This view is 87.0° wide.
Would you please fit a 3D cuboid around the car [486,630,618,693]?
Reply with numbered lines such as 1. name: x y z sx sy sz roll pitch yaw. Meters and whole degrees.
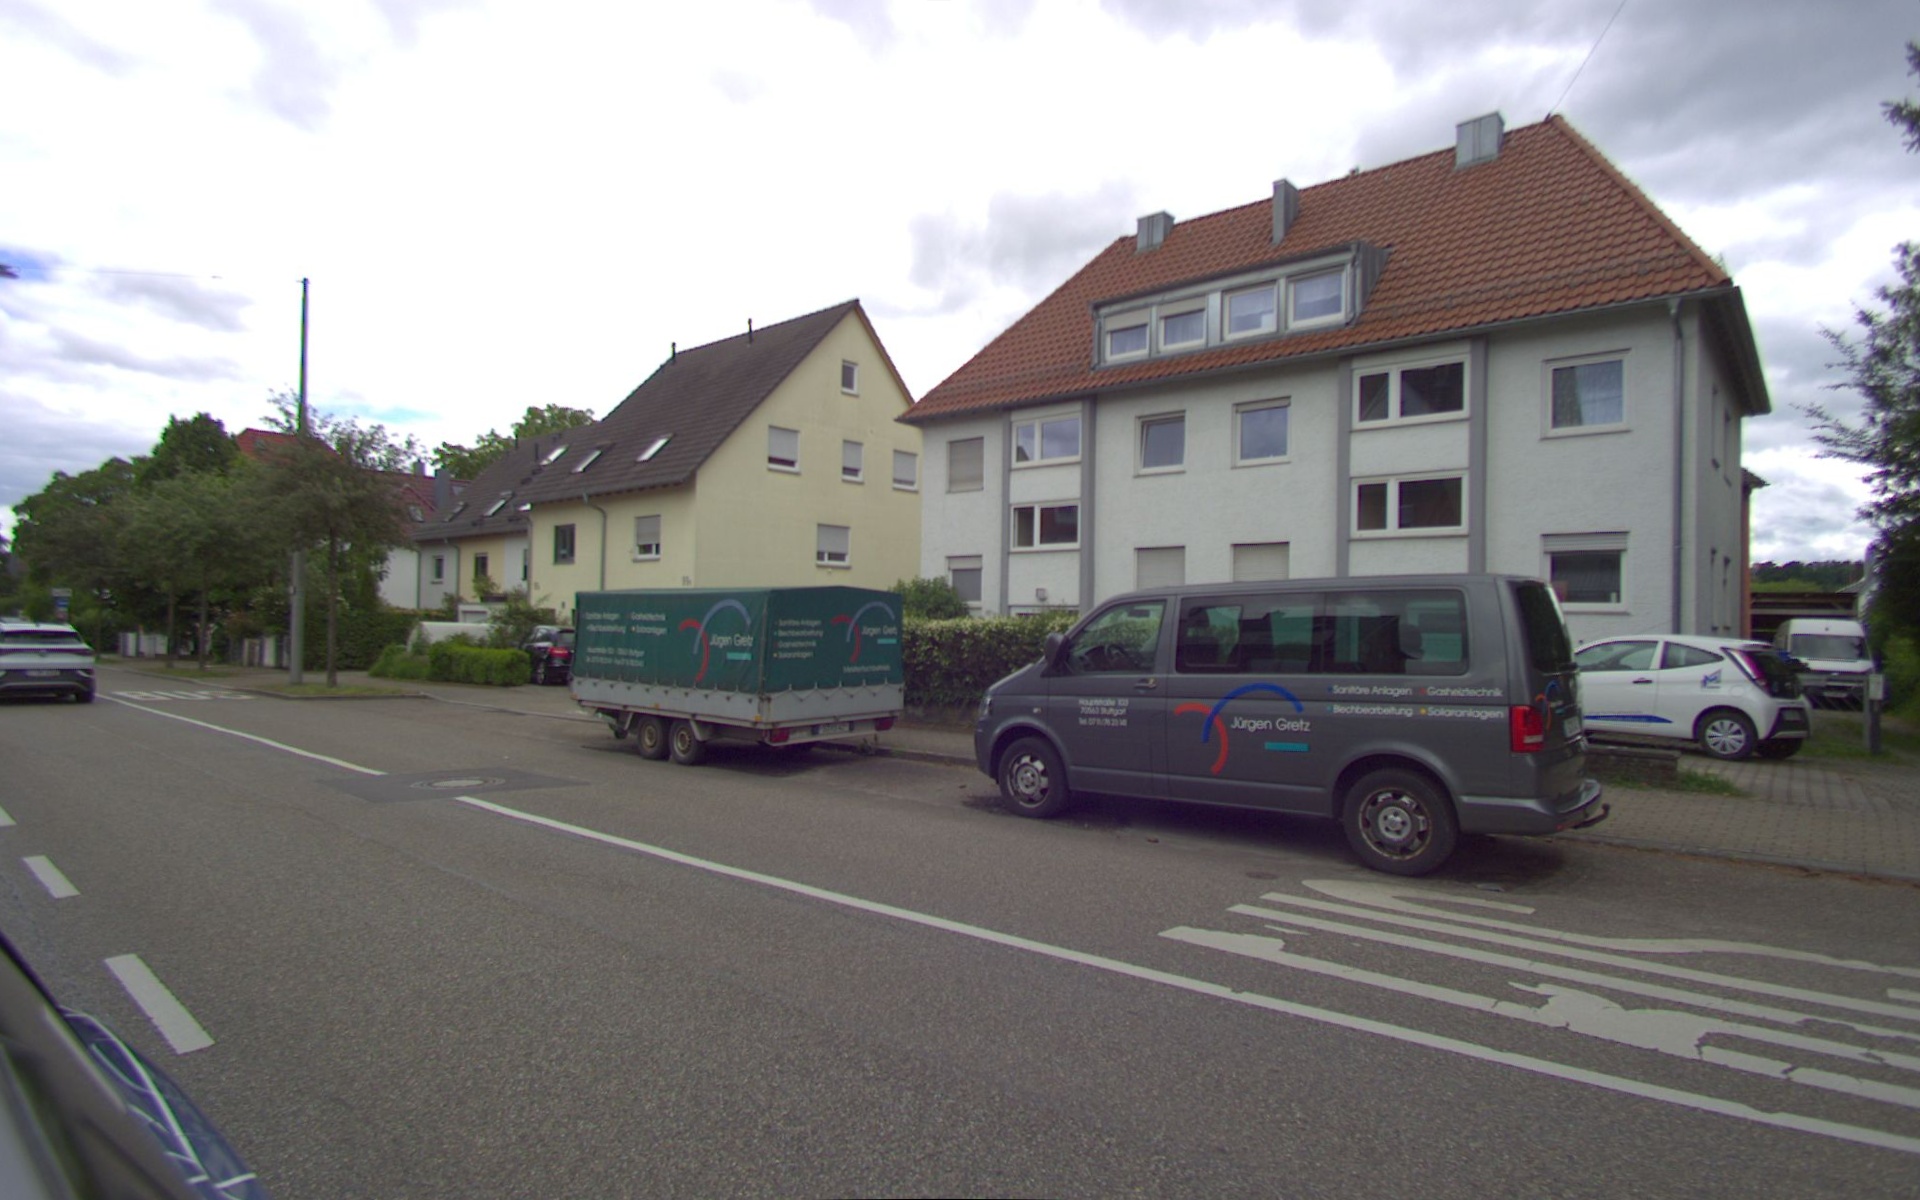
1. car: -10.806 1.600 26.715 3.916 1.533 1.729 -2 -5 44

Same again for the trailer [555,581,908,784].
1. trailer: -2.985 0.934 12.775 4.423 2.104 2.132 -2 -3 41

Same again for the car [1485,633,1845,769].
1. car: 8.911 1.188 13.057 1.603 1.497 3.435 2 -3 -33

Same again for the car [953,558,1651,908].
1. car: 2.419 0.829 8.070 4.896 1.964 1.973 -2 -3 41

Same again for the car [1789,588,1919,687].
1. car: 25.817 1.107 29.413 2.255 2.606 5.538 -1 -3 36

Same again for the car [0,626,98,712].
1. car: -19.334 1.366 20.842 4.297 1.616 1.802 -2 -3 42
